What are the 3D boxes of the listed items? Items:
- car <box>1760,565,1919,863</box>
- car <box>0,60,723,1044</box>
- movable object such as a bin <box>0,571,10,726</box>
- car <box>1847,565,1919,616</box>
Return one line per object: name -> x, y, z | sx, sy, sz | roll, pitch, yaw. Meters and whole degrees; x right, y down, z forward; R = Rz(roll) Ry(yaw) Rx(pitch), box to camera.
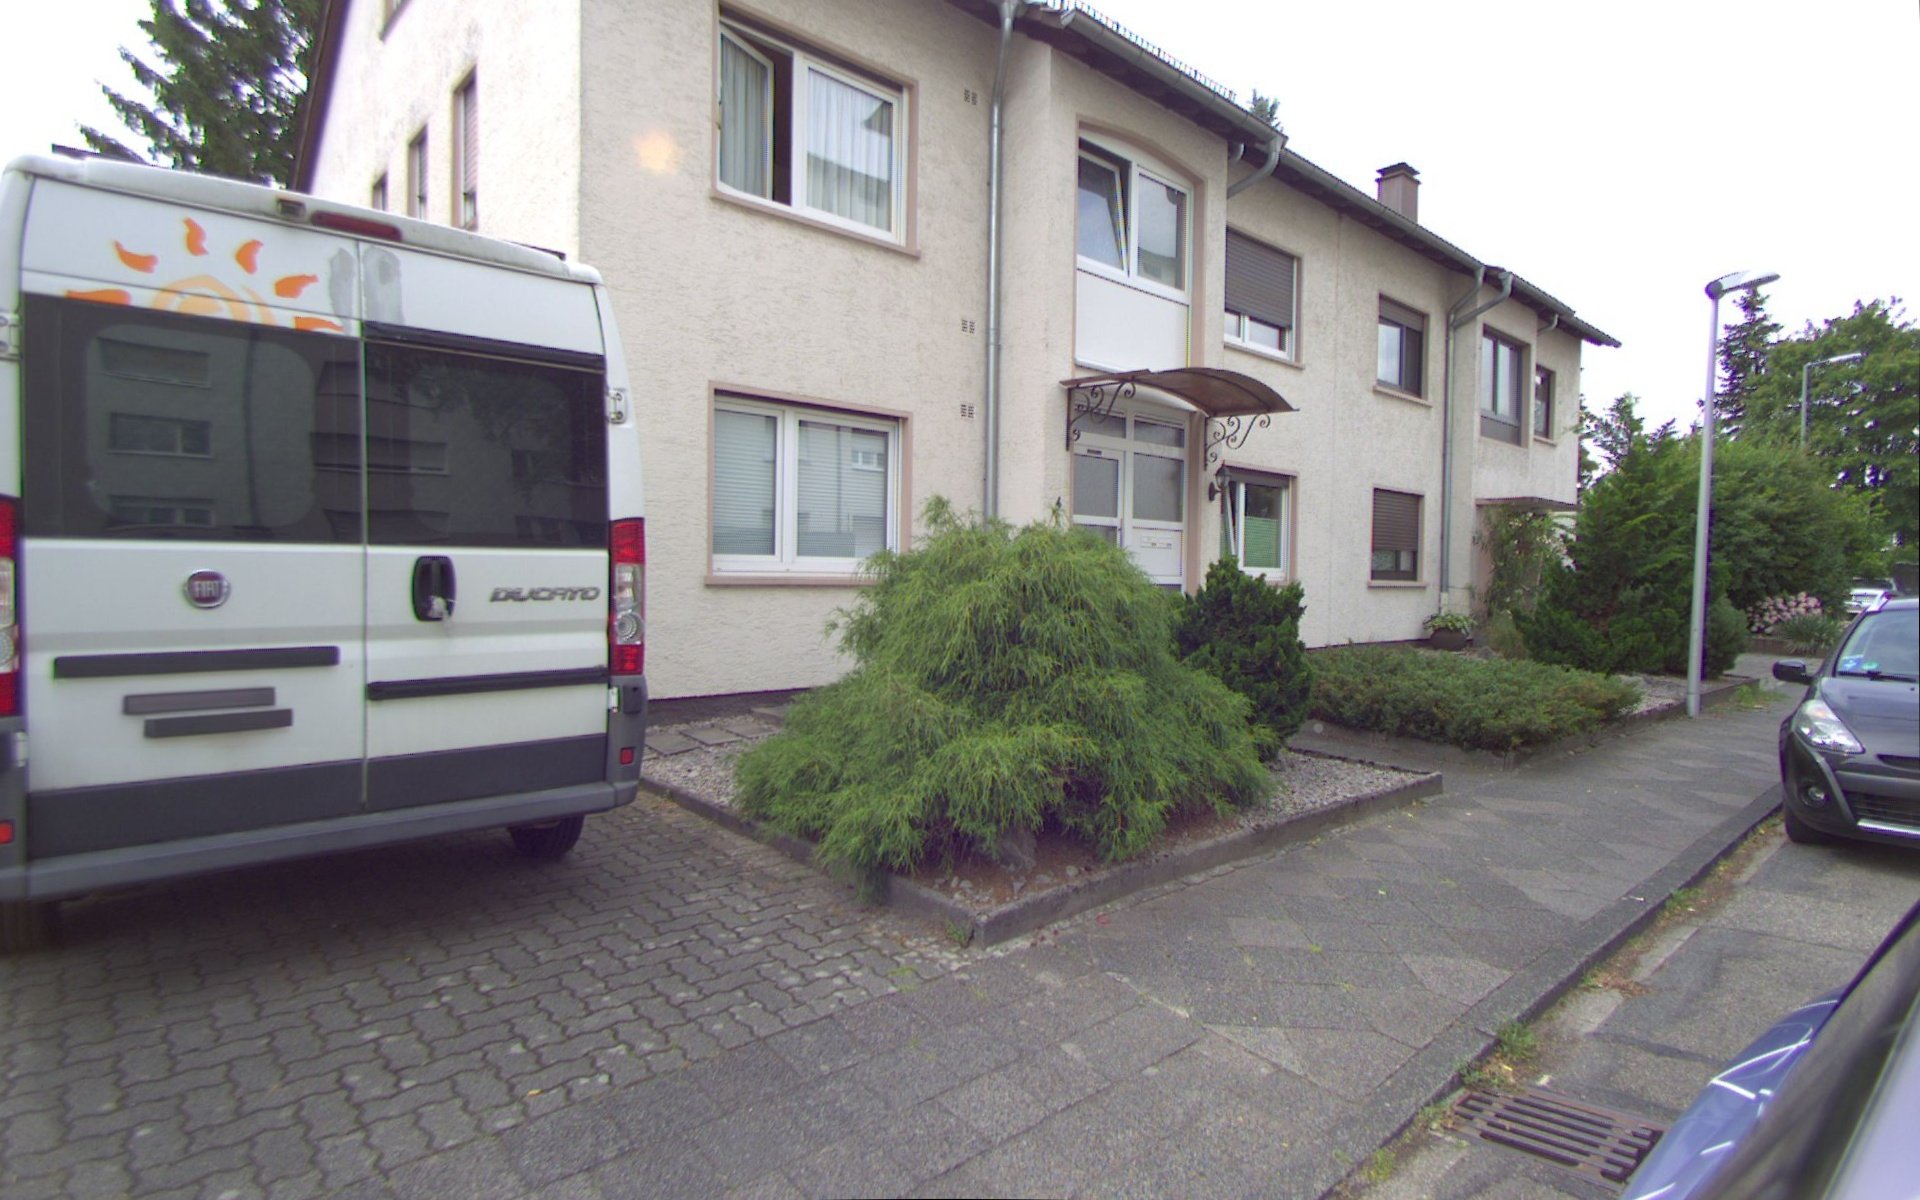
car -> 6.428, 0.548, 6.258 | 4.122, 1.476, 1.831 | -1, 1, -44
car -> -3.456, -0.255, 5.222 | 2.199, 2.573, 5.098 | 0, 3, -41
movable object such as a bin -> -7.050, 0.340, 7.109 | 0.537, 1.069, 0.456 | -1, 4, -43
car -> 30.401, -0.363, 33.187 | 3.936, 1.484, 1.702 | -3, 4, -45
